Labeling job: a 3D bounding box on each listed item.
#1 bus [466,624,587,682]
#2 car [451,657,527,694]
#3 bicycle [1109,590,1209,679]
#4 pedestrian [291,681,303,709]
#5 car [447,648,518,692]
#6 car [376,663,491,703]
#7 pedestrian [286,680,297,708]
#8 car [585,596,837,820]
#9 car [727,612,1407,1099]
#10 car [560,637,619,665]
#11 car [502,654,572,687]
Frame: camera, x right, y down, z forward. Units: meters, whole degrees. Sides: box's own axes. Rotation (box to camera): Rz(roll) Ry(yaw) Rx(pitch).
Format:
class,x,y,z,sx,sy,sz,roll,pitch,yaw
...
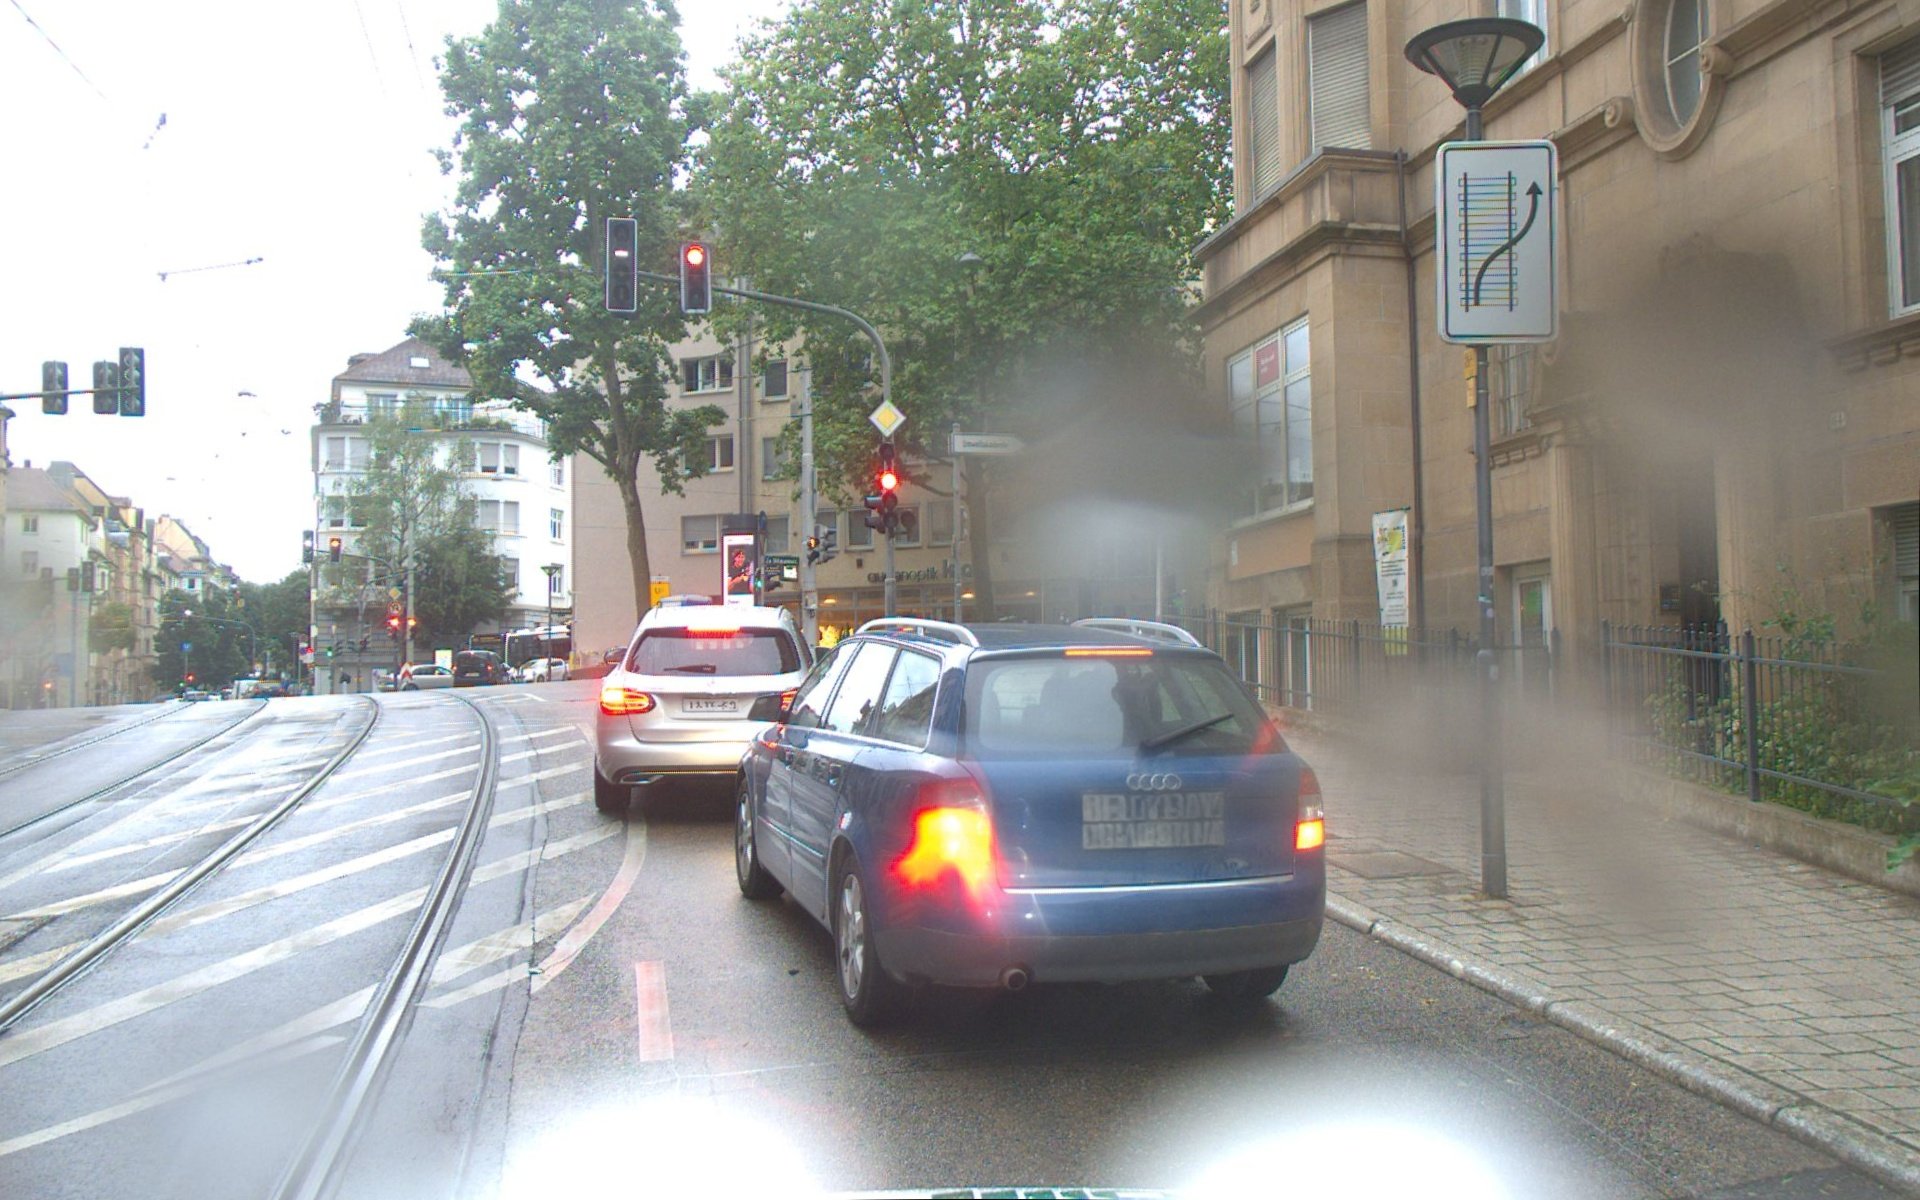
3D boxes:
class,x,y,z,sx,sy,sz,roll,pitch,yaw
bus,-24.521,2.953,94.046,2.793,2.911,8.741,-1,0,13
car,-23.581,3.778,82.873,1.756,1.642,4.002,-1,0,17
bicycle,2.863,0.488,23.779,1.278,1.194,0.524,-3,0,-13
pedestrian,-40.135,5.742,100.075,0.639,1.690,0.646,0,-1,-21
car,-19.479,2.830,67.652,1.758,1.536,3.999,-3,0,-2
car,-23.607,3.692,74.258,4.625,1.537,1.773,-1,0,-42
pedestrian,-41.374,5.843,102.390,0.639,1.690,0.646,0,-1,-21
car,-1.905,0.720,12.897,1.678,1.481,3.546,0,0,-8
car,0.125,0.794,7.226,1.683,1.440,4.017,0,0,-17
car,-22.739,3.124,101.642,1.756,1.536,4.002,-1,0,17
car,-22.444,3.724,87.970,1.756,1.536,4.002,-1,0,17
